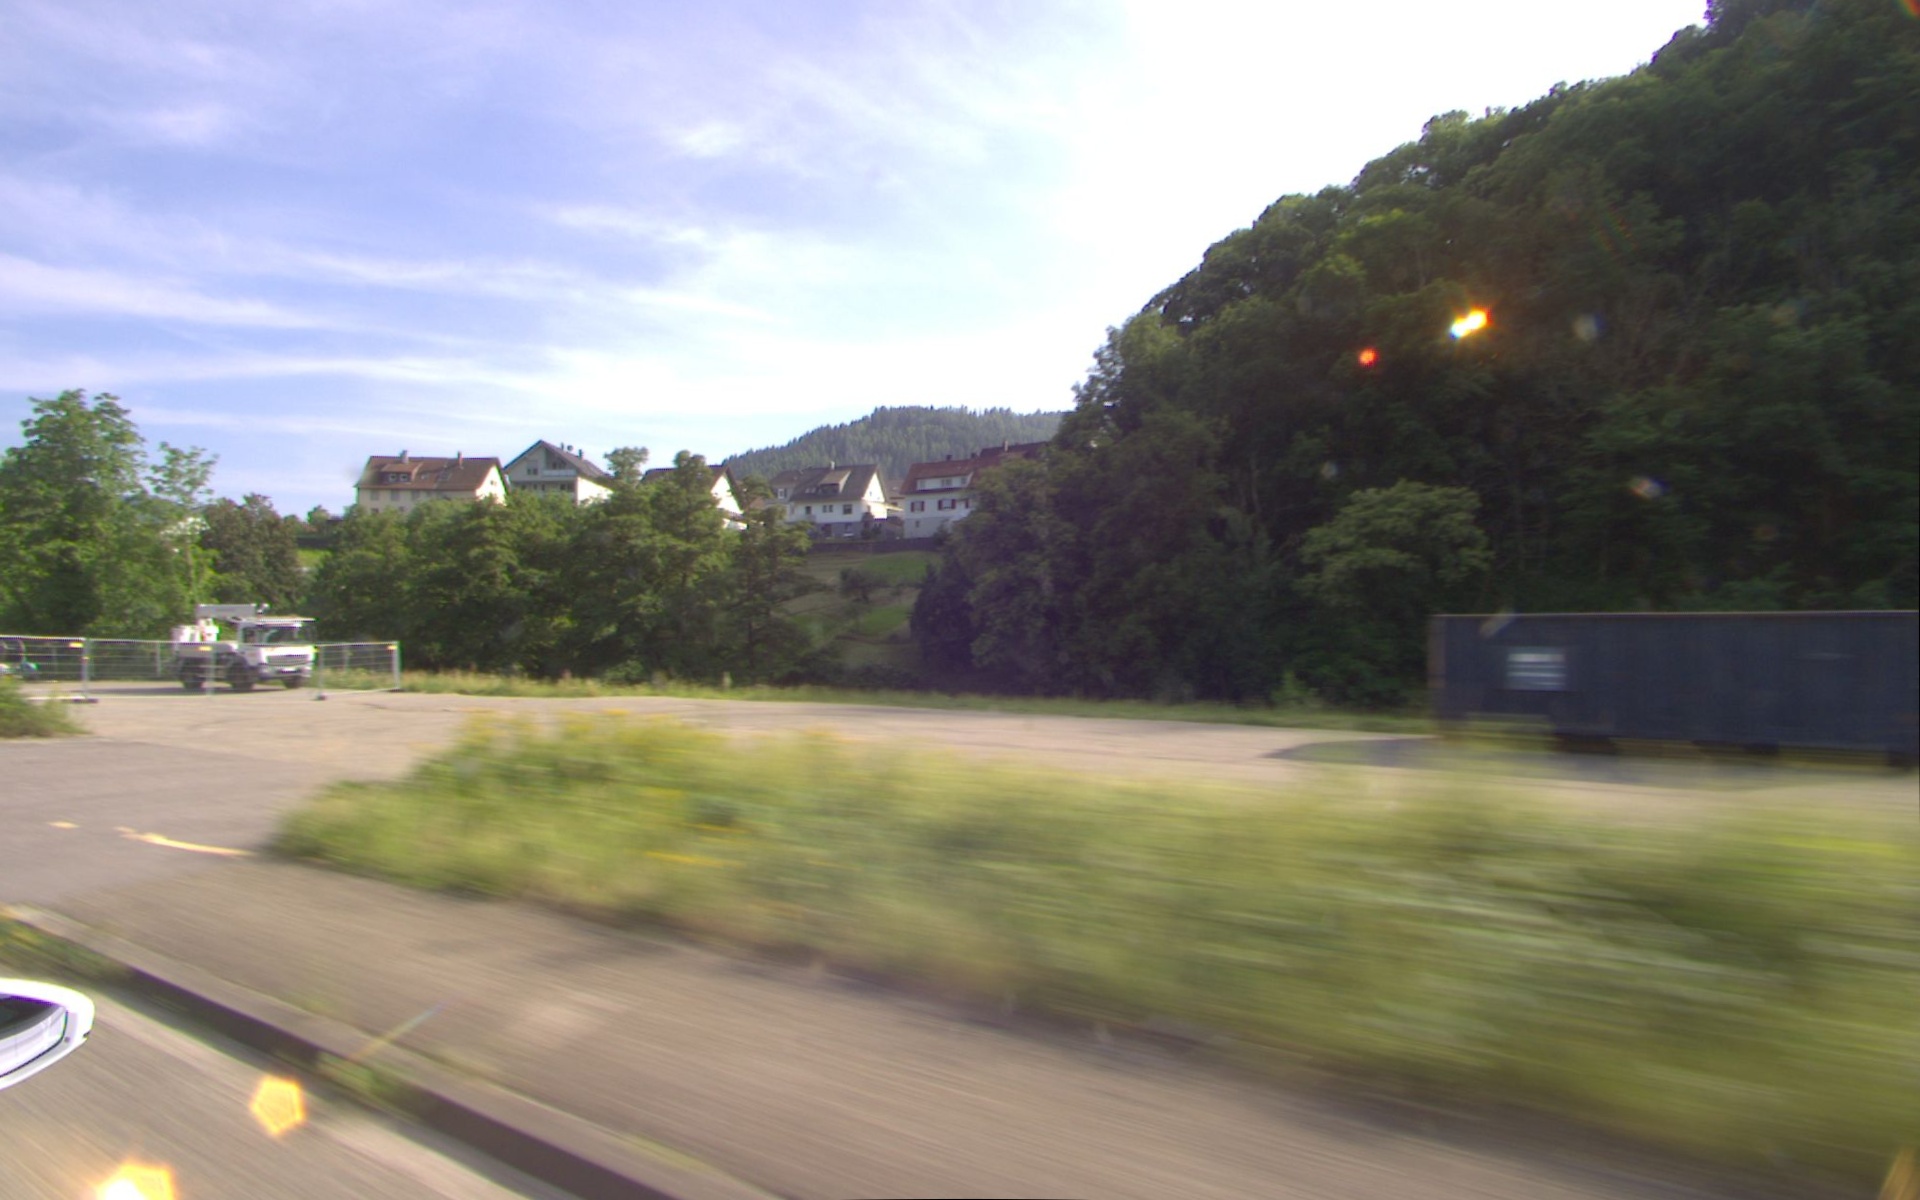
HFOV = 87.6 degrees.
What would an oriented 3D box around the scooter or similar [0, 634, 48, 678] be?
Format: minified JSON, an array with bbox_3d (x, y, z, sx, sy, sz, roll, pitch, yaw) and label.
[{"bbox_3d":[-46.823,2.705,48.887,3.934,2.039,1.995,0,-1,24],"label":"scooter or similar"}]

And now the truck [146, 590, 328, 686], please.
[{"bbox_3d":[-31.499,1.690,43.526,8.516,3.828,3.102,-1,-4,30],"label":"truck"}]

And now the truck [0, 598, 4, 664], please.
[{"bbox_3d":[-49.093,1.721,46.690,8.495,3.828,3.109,0,-3,21],"label":"truck"}]
